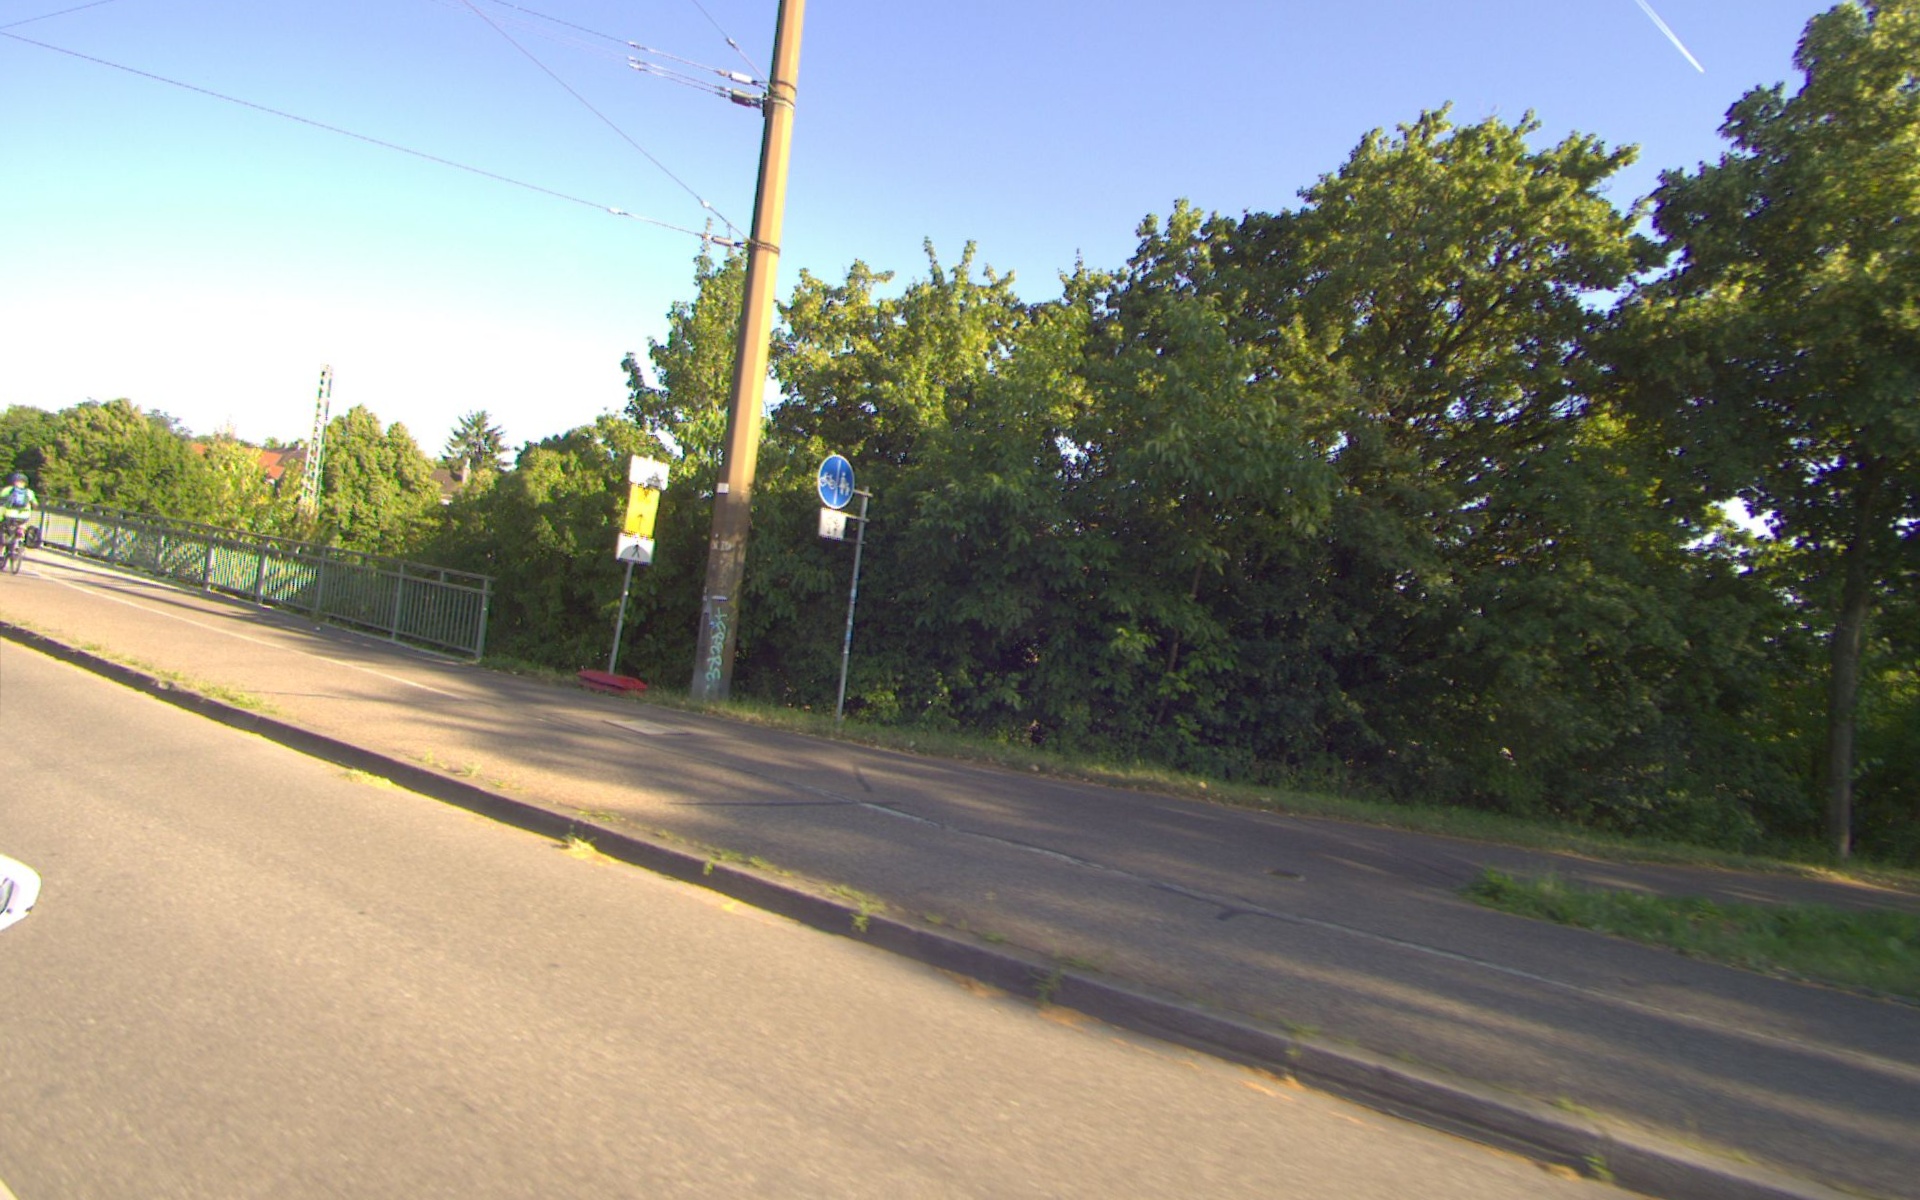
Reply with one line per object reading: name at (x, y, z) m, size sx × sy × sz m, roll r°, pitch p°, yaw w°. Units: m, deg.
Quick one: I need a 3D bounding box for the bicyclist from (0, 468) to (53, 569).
bicyclist at (-16.113, -1.404, 16.990) m, size 0.882 × 1.581 × 0.813 m, roll 8°, pitch 0°, yaw 32°

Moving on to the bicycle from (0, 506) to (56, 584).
bicycle at (-16.182, -0.990, 17.008) m, size 2.180 × 1.136 × 0.684 m, roll 8°, pitch 0°, yaw 33°
